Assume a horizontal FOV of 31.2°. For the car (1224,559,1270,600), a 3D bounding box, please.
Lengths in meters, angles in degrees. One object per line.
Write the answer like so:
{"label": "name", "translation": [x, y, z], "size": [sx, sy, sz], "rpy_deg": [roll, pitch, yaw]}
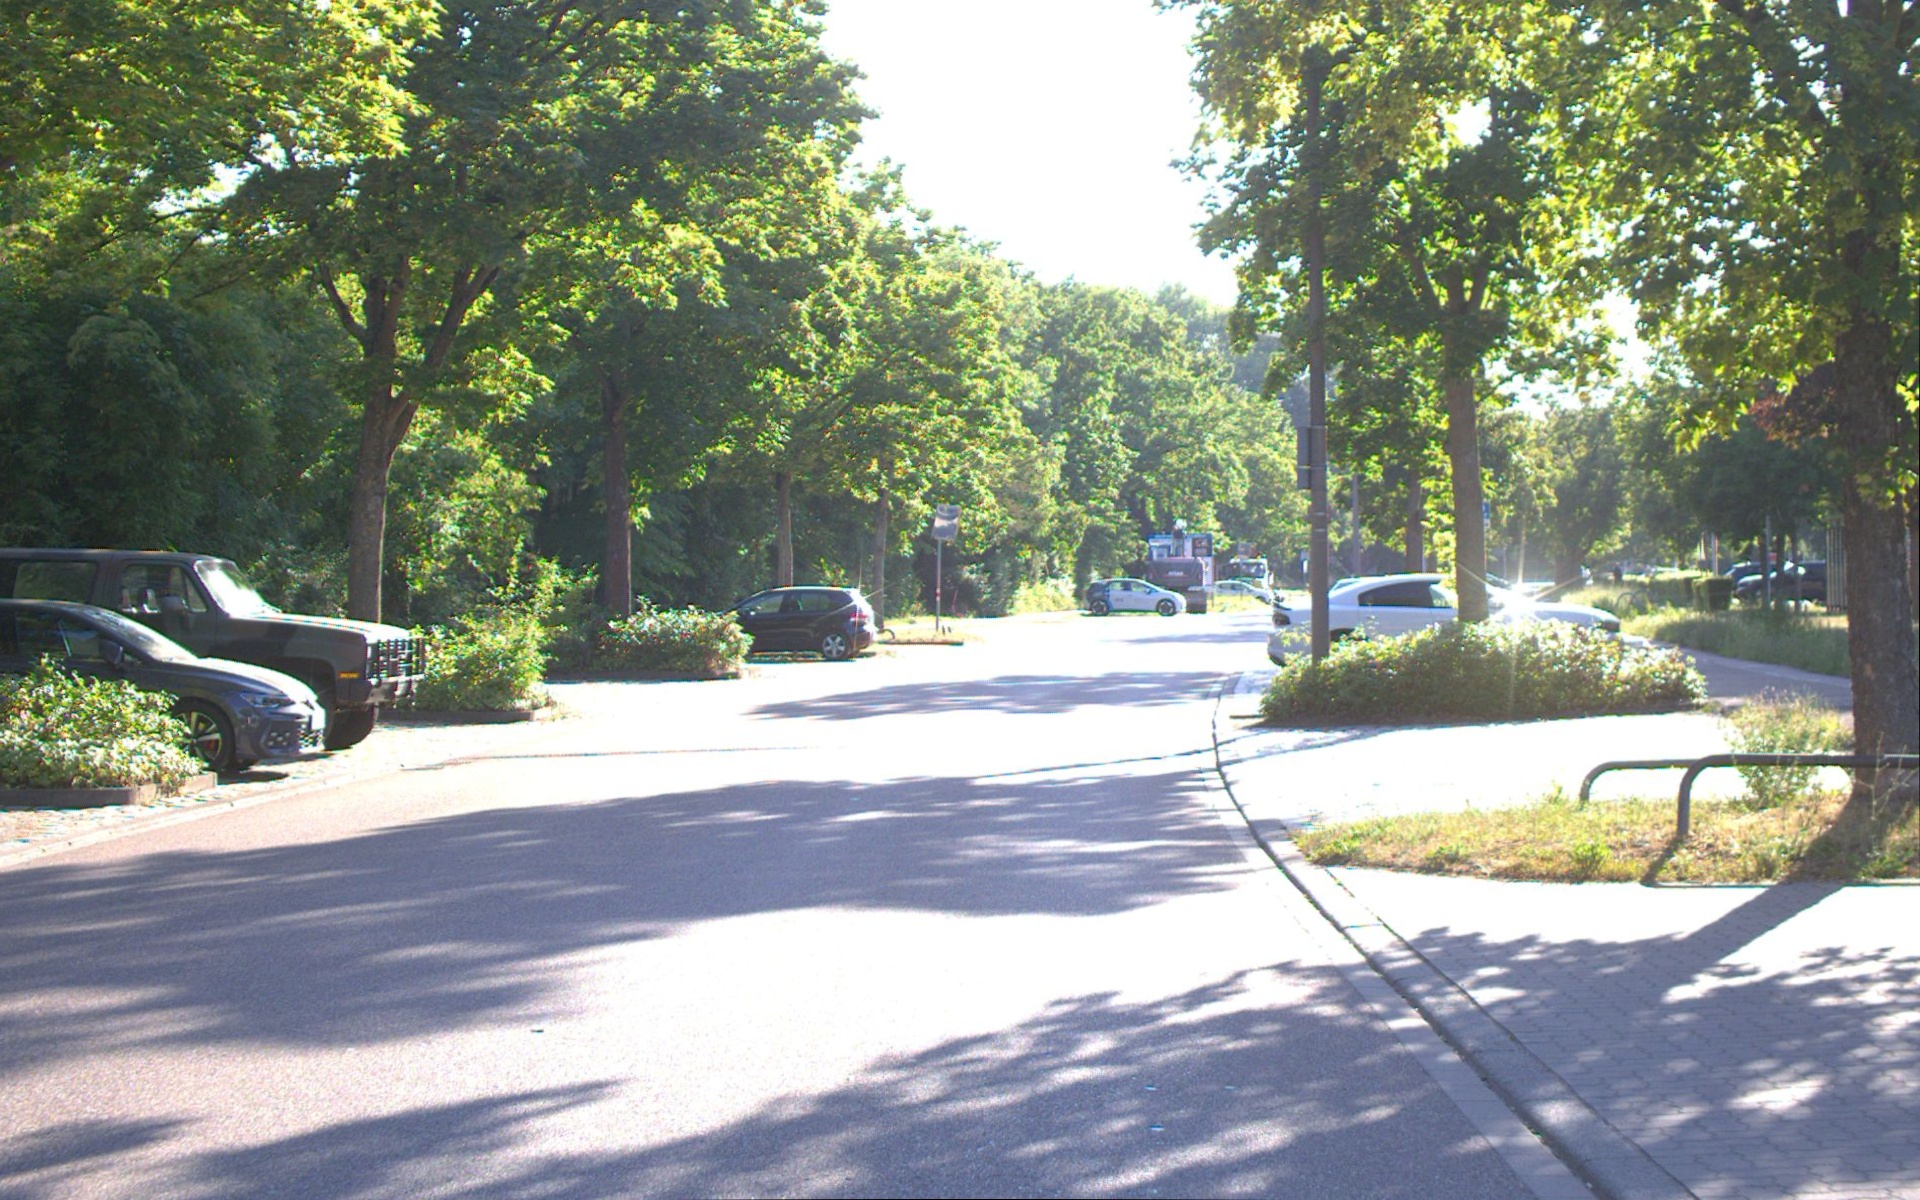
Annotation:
{"label": "car", "translation": [17.055, -1.229, 204.452], "size": [2.517, 2.378, 4.372], "rpy_deg": [-1, 0, 2]}

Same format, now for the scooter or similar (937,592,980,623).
{"label": "scooter or similar", "translation": [-0.054, 0.284, 129.198], "size": [1.580, 1.141, 0.577], "rpy_deg": [-1, 0, -41]}

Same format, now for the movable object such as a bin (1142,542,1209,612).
{"label": "movable object such as a bin", "translation": [9.765, -1.045, 155.438], "size": [2.838, 3.058, 4.926], "rpy_deg": [-1, 0, 5]}

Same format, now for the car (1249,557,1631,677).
{"label": "car", "translation": [6.728, 0.232, 48.679], "size": [5.176, 1.568, 2.157], "rpy_deg": [-1, 0, 4]}

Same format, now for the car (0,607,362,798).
{"label": "car", "translation": [-7.405, 0.870, 29.438], "size": [4.212, 1.525, 1.705], "rpy_deg": [-1, 0, 2]}

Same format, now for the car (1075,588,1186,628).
{"label": "car", "translation": [7.091, 0.325, 143.022], "size": [4.360, 1.542, 1.999], "rpy_deg": [-1, 0, 10]}

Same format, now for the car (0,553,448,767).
{"label": "car", "translation": [-7.680, 0.556, 33.551], "size": [5.005, 2.013, 2.174], "rpy_deg": [0, 0, 2]}

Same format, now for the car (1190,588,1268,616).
{"label": "car", "translation": [15.262, 0.099, 195.286], "size": [4.359, 1.474, 2.000], "rpy_deg": [-1, 0, 3]}

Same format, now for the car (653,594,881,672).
{"label": "car", "translation": [-3.928, 0.658, 70.320], "size": [4.359, 1.474, 2.000], "rpy_deg": [1, 1, 6]}
